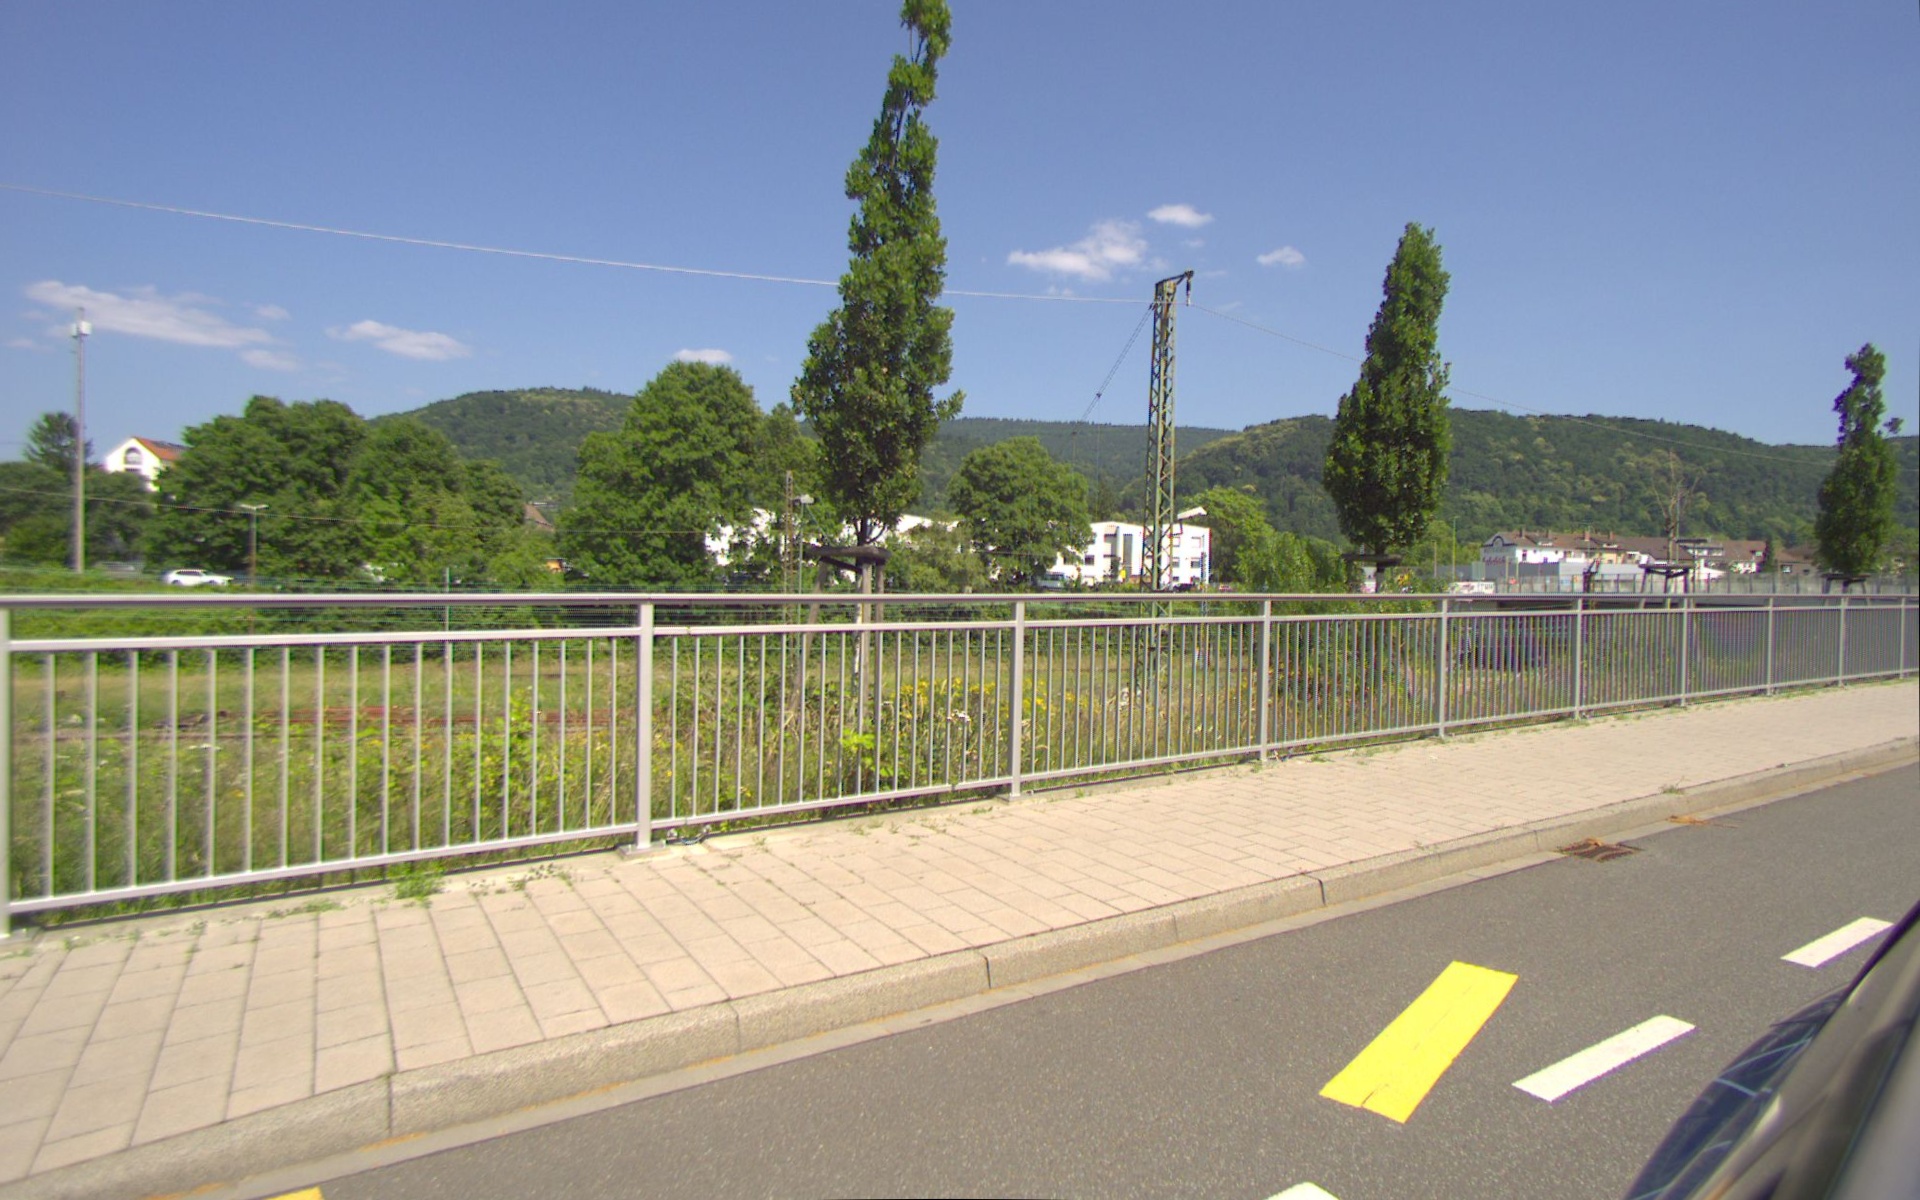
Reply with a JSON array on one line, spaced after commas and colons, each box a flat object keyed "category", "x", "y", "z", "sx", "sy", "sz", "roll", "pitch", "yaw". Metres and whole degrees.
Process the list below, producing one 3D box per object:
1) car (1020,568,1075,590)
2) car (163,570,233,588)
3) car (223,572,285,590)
[{"category": "car", "x": 9.462, "y": -2.315, "z": 109.546, "sx": 5.403, "sy": 2.130, "sz": 2.138, "roll": -1, "pitch": -3, "yaw": -21}, {"category": "car", "x": -62.122, "y": -1.698, "z": 82.541, "sx": 4.232, "sy": 1.384, "sz": 1.867, "roll": 0, "pitch": 1, "yaw": -2}, {"category": "car", "x": -57.665, "y": -1.558, "z": 82.685, "sx": 3.767, "sy": 1.384, "sz": 1.785, "roll": 0, "pitch": 1, "yaw": -3}]
